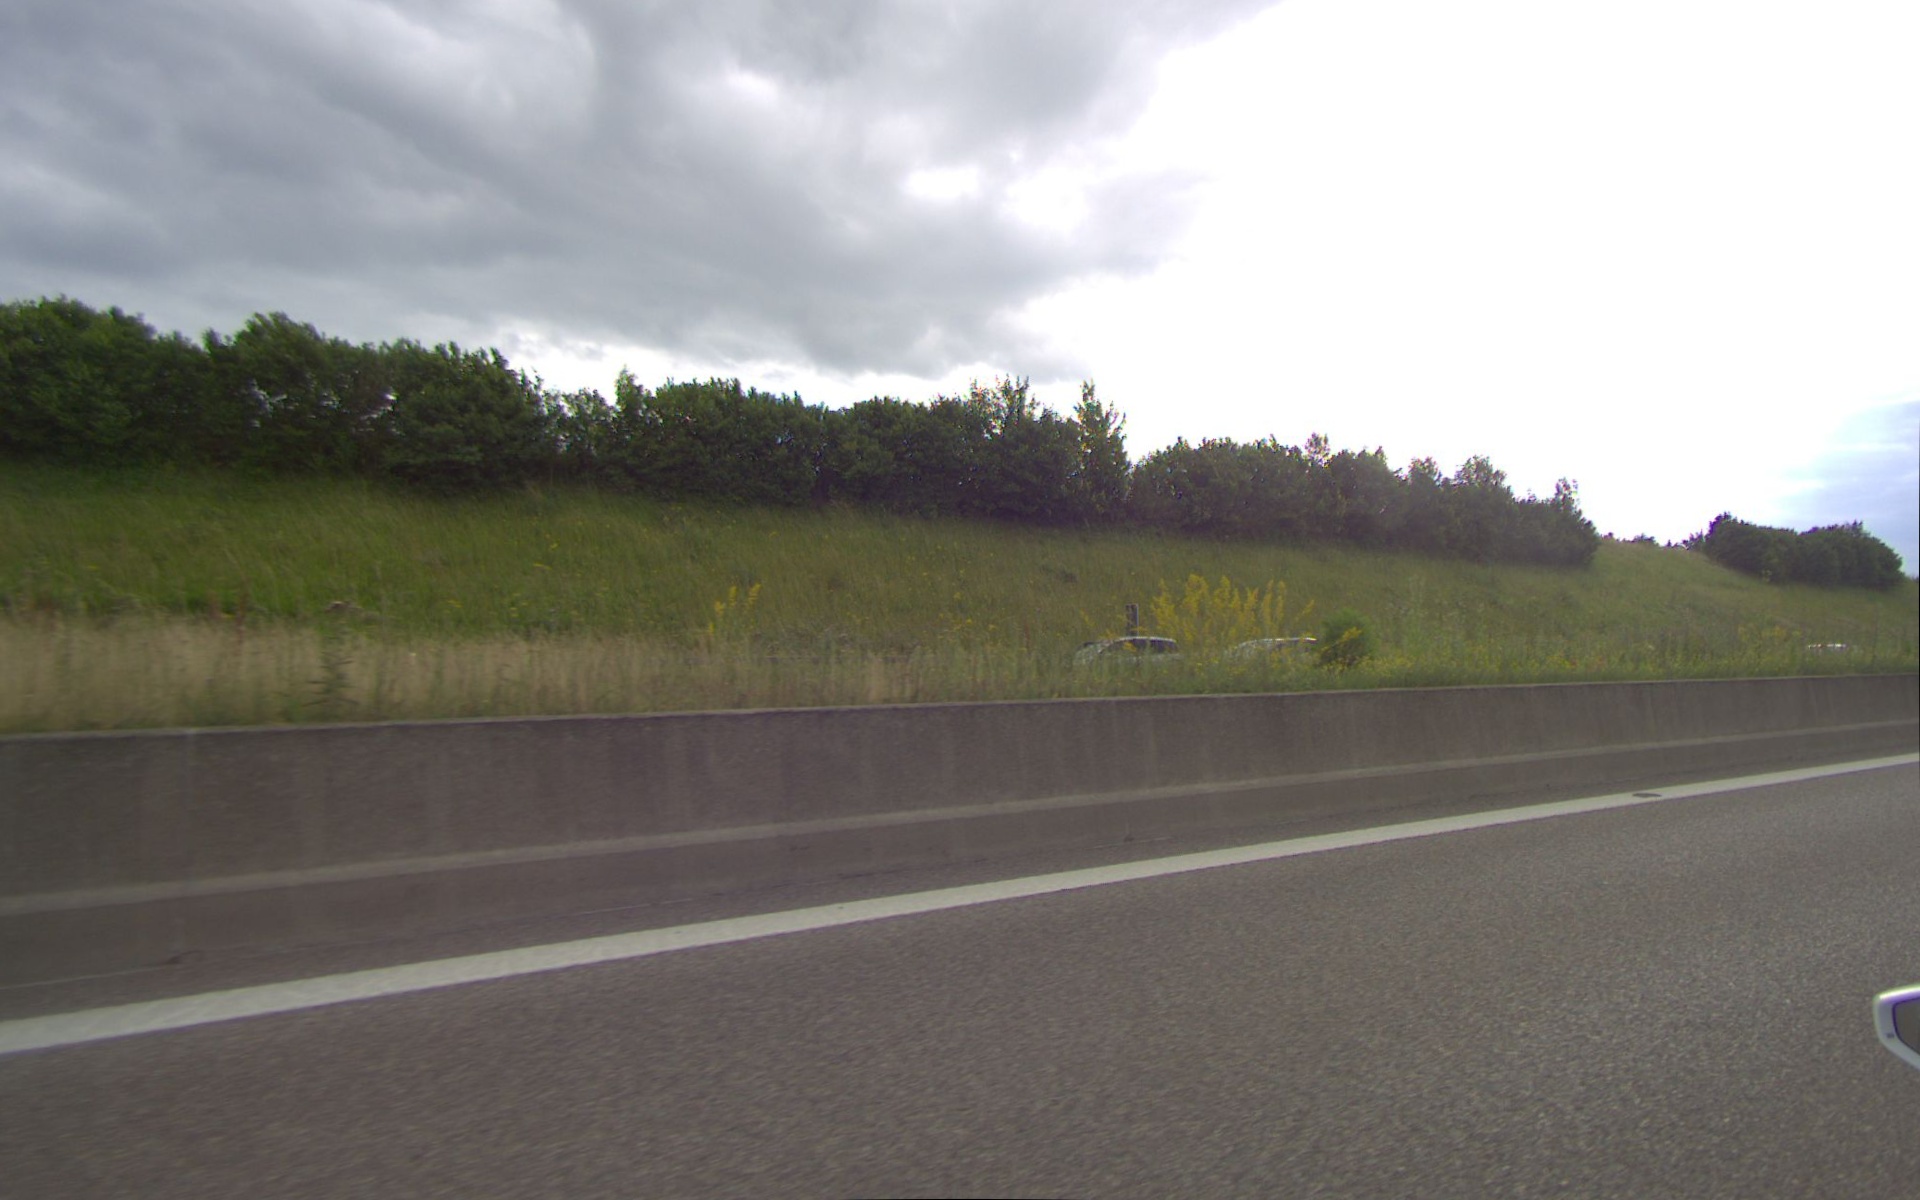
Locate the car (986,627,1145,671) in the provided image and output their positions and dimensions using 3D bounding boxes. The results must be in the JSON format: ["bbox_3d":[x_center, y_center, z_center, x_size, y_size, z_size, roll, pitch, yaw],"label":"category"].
[{"bbox_3d":[2.783,1.260,26.294,3.952,1.053,1.622,1,0,-30],"label":"car"}]

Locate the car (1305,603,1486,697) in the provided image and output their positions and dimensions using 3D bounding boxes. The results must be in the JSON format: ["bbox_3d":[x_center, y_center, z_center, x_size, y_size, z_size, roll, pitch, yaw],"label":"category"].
[{"bbox_3d":[10.287,1.160,23.700,3.953,2.040,1.984,1,-2,-30],"label":"car"}]
